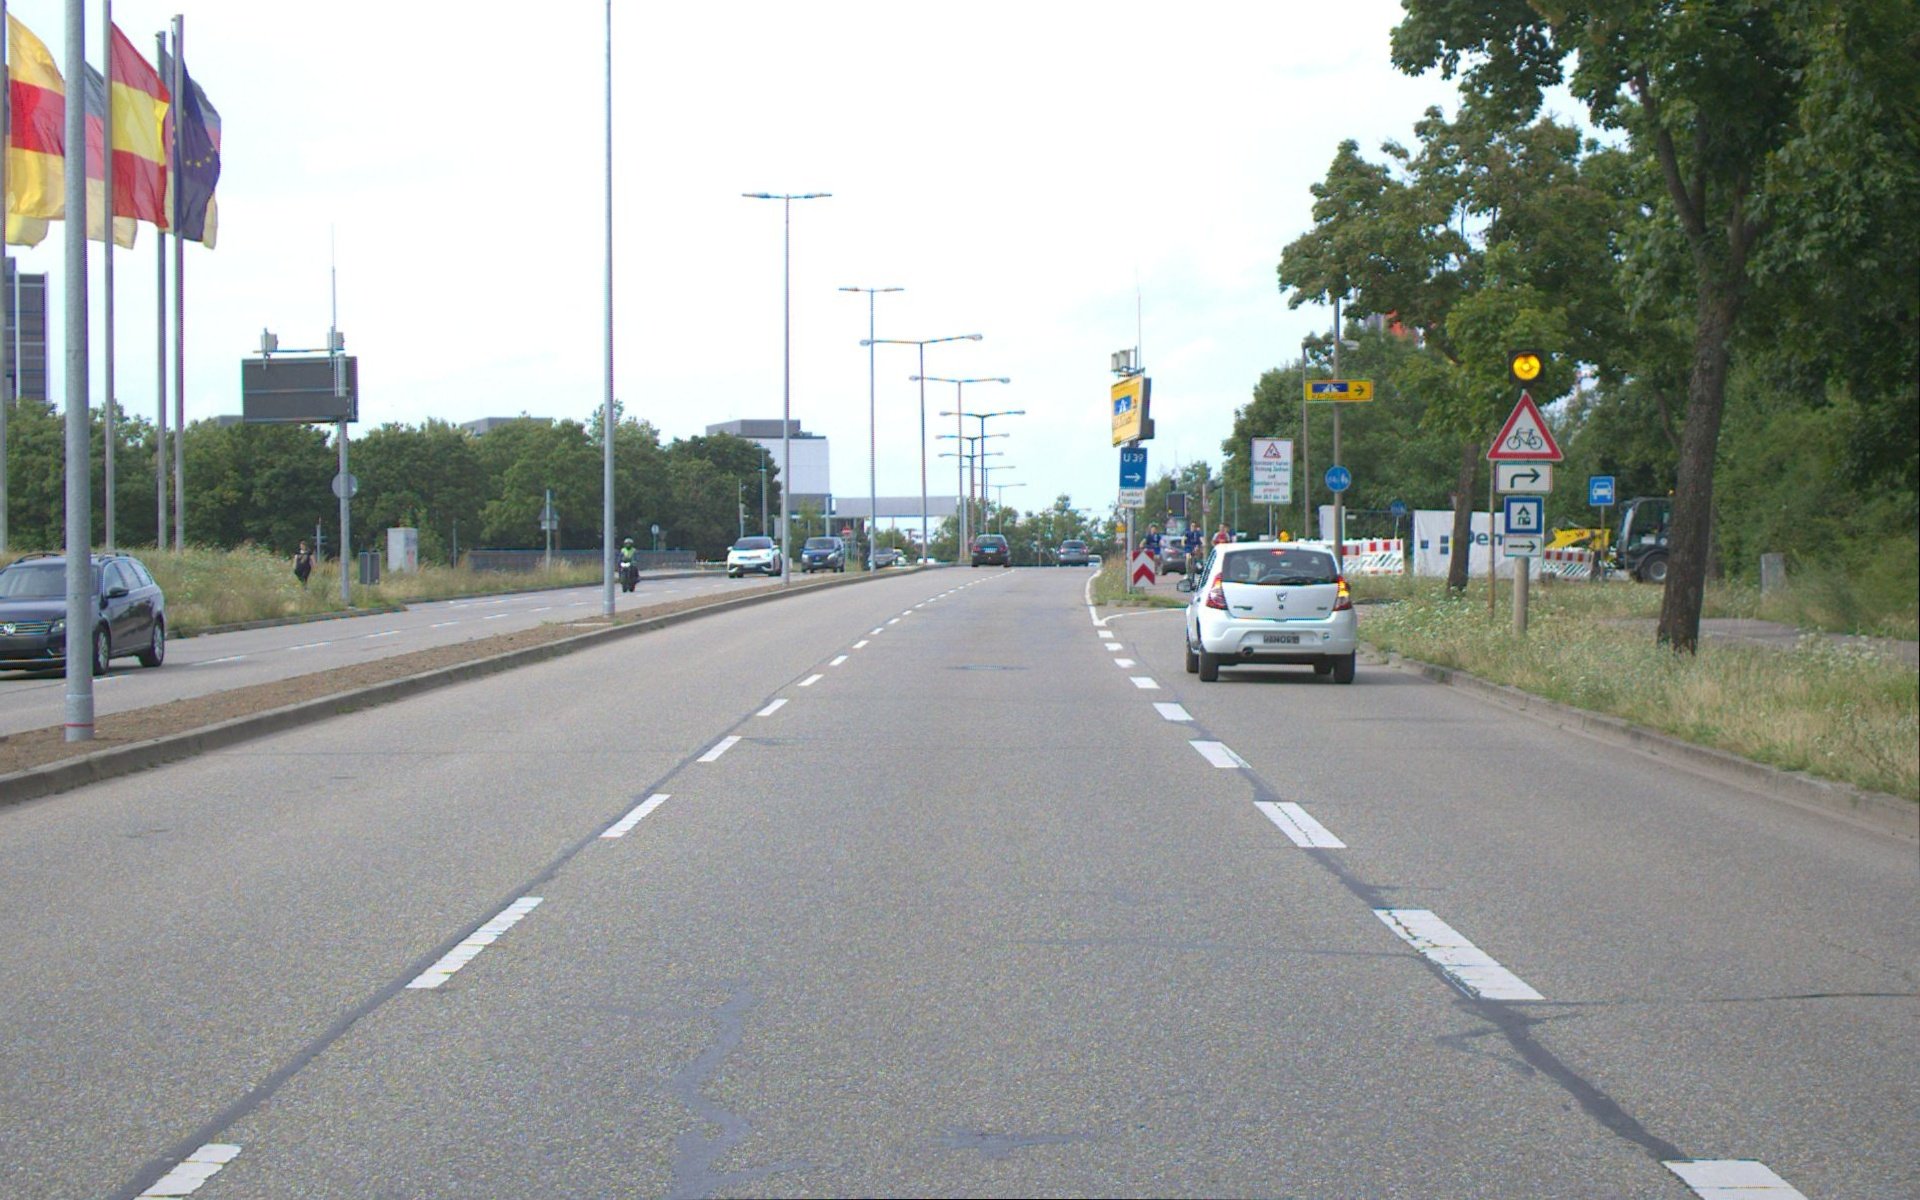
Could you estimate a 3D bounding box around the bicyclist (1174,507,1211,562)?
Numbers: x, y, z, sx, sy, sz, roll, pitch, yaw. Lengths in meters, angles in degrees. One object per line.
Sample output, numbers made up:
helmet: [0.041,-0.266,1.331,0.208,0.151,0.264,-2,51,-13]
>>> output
bicyclist: [6.444,-1.811,95.224,0.741,1.513,0.958,1,0,-13]

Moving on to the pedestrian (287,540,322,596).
pedestrian: [-20.024,-0.974,105.032,0.865,1.687,0.679,-2,1,1]

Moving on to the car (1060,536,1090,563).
car: [6.726,-2.960,201.326,1.730,1.521,4.115,1,1,1]

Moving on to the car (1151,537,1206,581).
car: [8.541,-1.584,134.444,1.730,1.647,4.115,1,0,-2]

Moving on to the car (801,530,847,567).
car: [-7.323,-2.793,185.379,1.847,1.887,5.504,-3,1,4]

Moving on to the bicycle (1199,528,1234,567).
bicycle: [6.891,-1.413,92.469,0.620,1.002,1.788,-2,1,-5]

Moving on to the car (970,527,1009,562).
car: [1.439,-2.680,166.457,1.731,1.647,4.114,1,0,3]

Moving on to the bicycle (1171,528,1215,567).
bicycle: [6.457,-1.470,95.214,0.595,1.033,2.196,2,1,-12]

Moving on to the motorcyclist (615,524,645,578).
motorcyclist: [-9.944,-1.479,103.572,0.770,1.582,0.896,-2,1,1]

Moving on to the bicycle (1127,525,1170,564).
bicycle: [5.209,-1.545,95.253,0.620,1.002,2.103,2,1,-12]

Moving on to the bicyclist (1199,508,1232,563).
bicyclist: [6.880,-1.727,92.538,0.740,1.468,0.806,1,0,-5]

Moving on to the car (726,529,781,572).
car: [-8.330,-2.010,139.030,1.847,1.595,4.561,-1,2,1]

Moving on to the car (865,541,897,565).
car: [-5.005,-3.001,218.542,1.763,1.436,4.177,-2,1,2]

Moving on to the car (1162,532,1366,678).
car: [3.342,0.022,38.447,1.847,1.497,4.000,-1,1,-1]

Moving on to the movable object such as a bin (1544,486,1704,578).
movable object such as a bin: [19.780,-2.023,102.531,4.503,2.680,2.101,1,0,7]

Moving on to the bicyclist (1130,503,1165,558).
bicyclist: [5.201,-1.913,95.331,0.741,1.513,0.958,1,0,-11]

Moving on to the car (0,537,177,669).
car: [-11.217,0.005,43.032,1.768,1.527,4.741,-1,1,-1]

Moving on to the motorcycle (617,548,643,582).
motorcycle: [-9.935,-1.059,103.664,0.522,0.963,2.220,-1,1,1]
